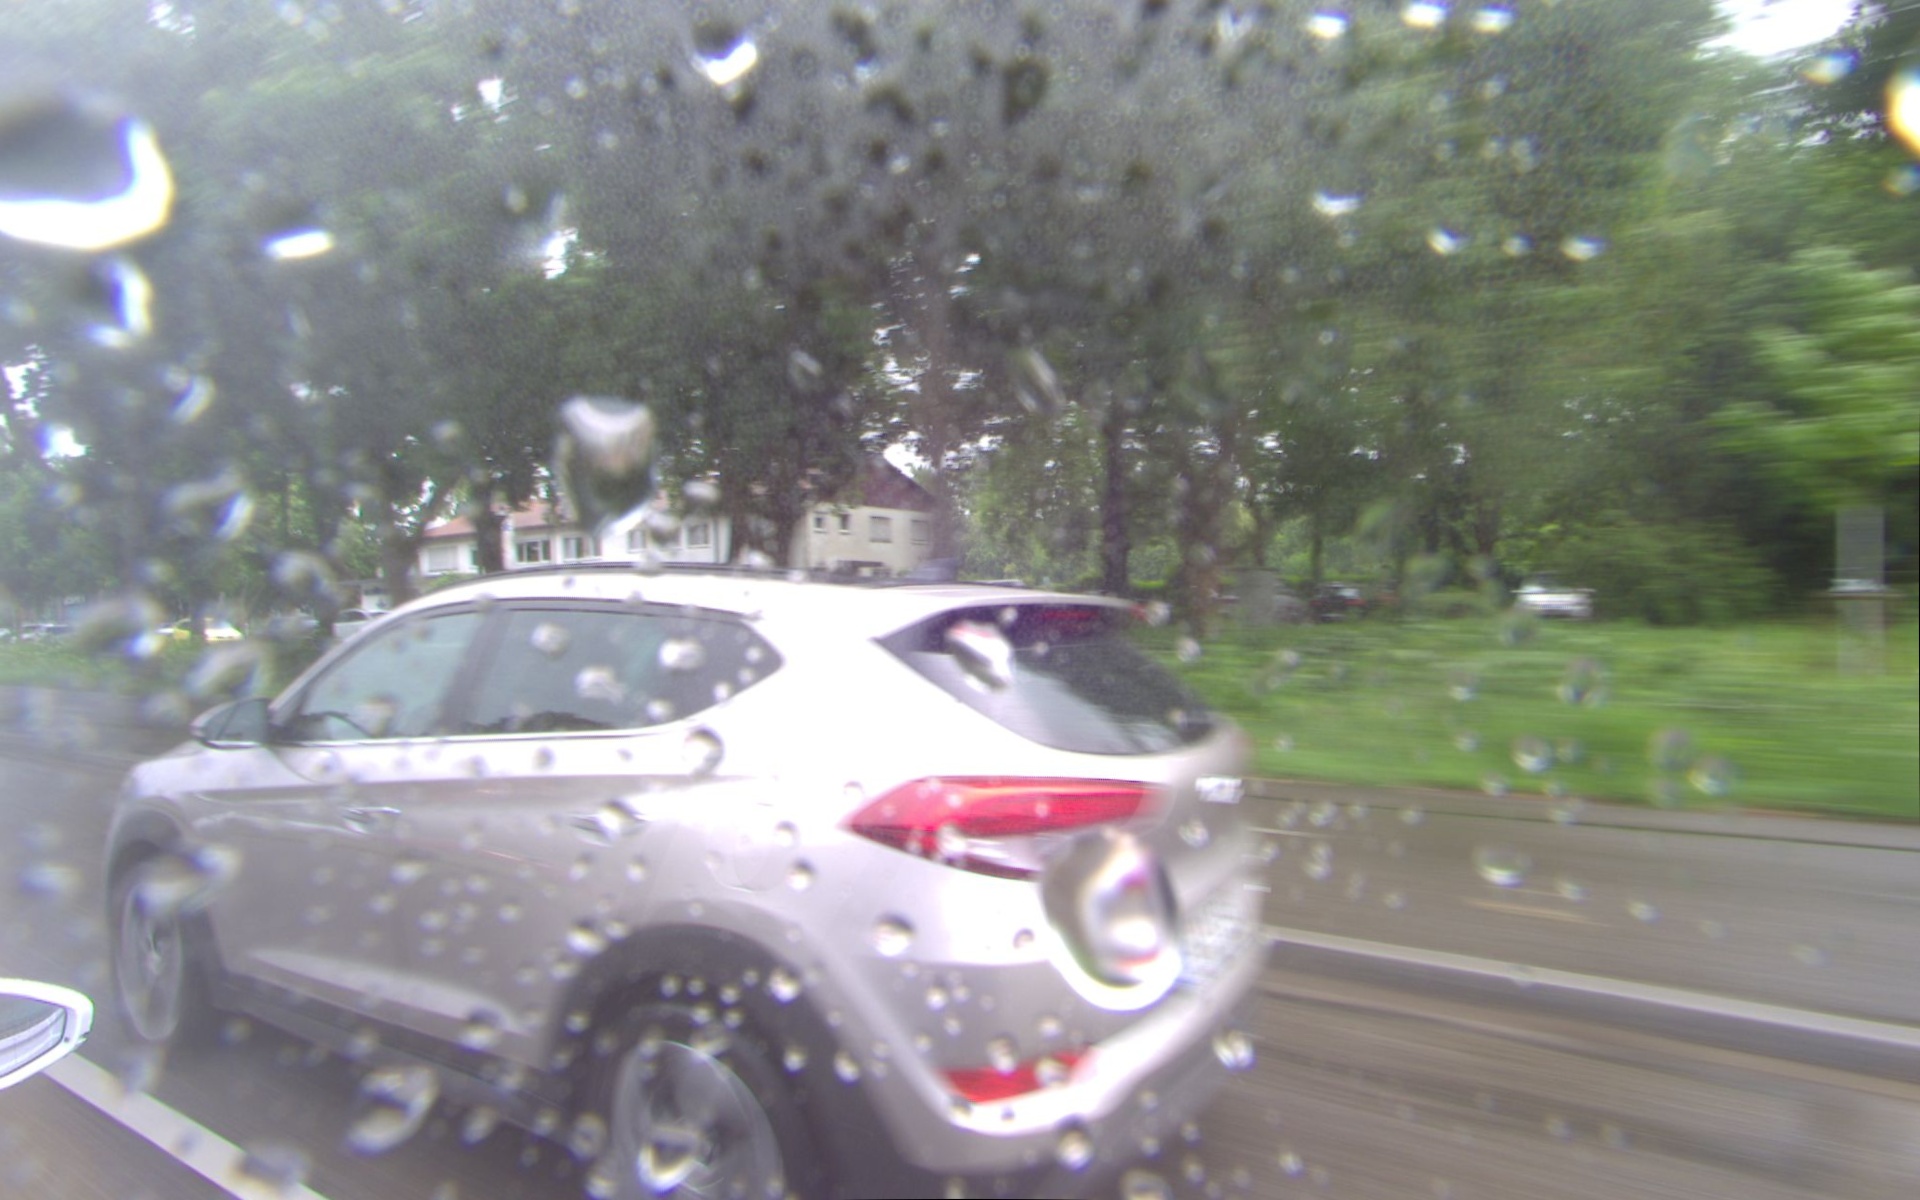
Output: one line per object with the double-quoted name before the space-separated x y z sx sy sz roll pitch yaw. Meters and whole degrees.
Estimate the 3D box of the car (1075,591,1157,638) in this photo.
"car" 5.098 0.525 33.235 1.573 1.467 3.751 -1 -2 -10

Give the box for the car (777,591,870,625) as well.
"car" -6.073 0.392 44.442 3.941 1.403 1.581 -2 -2 30

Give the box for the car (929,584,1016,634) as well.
"car" 0.330 0.336 31.963 1.641 1.467 3.745 0 -2 -19

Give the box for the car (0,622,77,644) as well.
"car" -74.857 2.682 81.156 1.970 1.727 4.567 -2 -2 28

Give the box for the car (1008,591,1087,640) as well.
"car" 2.771 0.536 32.554 1.638 1.467 3.751 -1 -2 -10

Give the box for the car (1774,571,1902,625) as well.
"car" 29.014 0.006 33.282 1.894 1.603 4.588 -1 -2 24

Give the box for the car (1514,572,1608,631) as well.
"car" 17.358 0.088 28.835 1.860 1.544 3.973 -2 -2 38

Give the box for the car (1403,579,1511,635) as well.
"car" 14.711 0.258 29.464 2.139 1.467 5.386 -2 -2 34

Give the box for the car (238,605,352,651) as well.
"car" -26.951 1.139 40.542 4.574 1.740 1.990 -2 1 31

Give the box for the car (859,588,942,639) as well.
"car" -1.904 0.457 30.995 1.641 1.467 3.745 0 -2 -19

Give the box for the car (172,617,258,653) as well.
"car" -33.164 1.577 44.544 4.013 1.505 1.635 -2 -2 30

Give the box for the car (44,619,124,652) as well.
"car" -46.910 1.896 53.616 4.576 1.647 1.989 -2 1 33

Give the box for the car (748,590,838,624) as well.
"car" -7.139 0.319 42.700 3.647 1.332 1.570 -2 -2 30

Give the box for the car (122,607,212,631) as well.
"car" -52.682 1.267 66.583 1.916 1.503 4.331 -2 -2 29

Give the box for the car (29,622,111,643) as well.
"car" -69.964 2.532 78.803 1.920 1.577 4.557 -2 -2 35

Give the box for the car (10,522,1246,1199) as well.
"car" -1.295 0.701 3.540 4.132 1.631 1.882 0 0 30

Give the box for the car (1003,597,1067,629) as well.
"car" 3.727 0.661 49.244 1.709 1.474 3.985 -2 -2 28

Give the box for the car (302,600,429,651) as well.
"car" -22.371 0.977 37.643 4.807 1.740 1.990 -2 1 31

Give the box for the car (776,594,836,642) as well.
"car" -4.687 0.564 30.170 1.497 1.369 3.386 0 -2 -13

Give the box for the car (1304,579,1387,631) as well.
"car" 11.994 0.197 31.042 1.647 1.467 3.701 -2 -2 34

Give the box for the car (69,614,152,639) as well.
"car" -62.602 1.980 73.848 1.916 1.747 4.331 -2 -2 29

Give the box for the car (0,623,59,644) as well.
"car" -77.396 2.757 82.296 1.969 1.666 4.569 -2 -2 27
